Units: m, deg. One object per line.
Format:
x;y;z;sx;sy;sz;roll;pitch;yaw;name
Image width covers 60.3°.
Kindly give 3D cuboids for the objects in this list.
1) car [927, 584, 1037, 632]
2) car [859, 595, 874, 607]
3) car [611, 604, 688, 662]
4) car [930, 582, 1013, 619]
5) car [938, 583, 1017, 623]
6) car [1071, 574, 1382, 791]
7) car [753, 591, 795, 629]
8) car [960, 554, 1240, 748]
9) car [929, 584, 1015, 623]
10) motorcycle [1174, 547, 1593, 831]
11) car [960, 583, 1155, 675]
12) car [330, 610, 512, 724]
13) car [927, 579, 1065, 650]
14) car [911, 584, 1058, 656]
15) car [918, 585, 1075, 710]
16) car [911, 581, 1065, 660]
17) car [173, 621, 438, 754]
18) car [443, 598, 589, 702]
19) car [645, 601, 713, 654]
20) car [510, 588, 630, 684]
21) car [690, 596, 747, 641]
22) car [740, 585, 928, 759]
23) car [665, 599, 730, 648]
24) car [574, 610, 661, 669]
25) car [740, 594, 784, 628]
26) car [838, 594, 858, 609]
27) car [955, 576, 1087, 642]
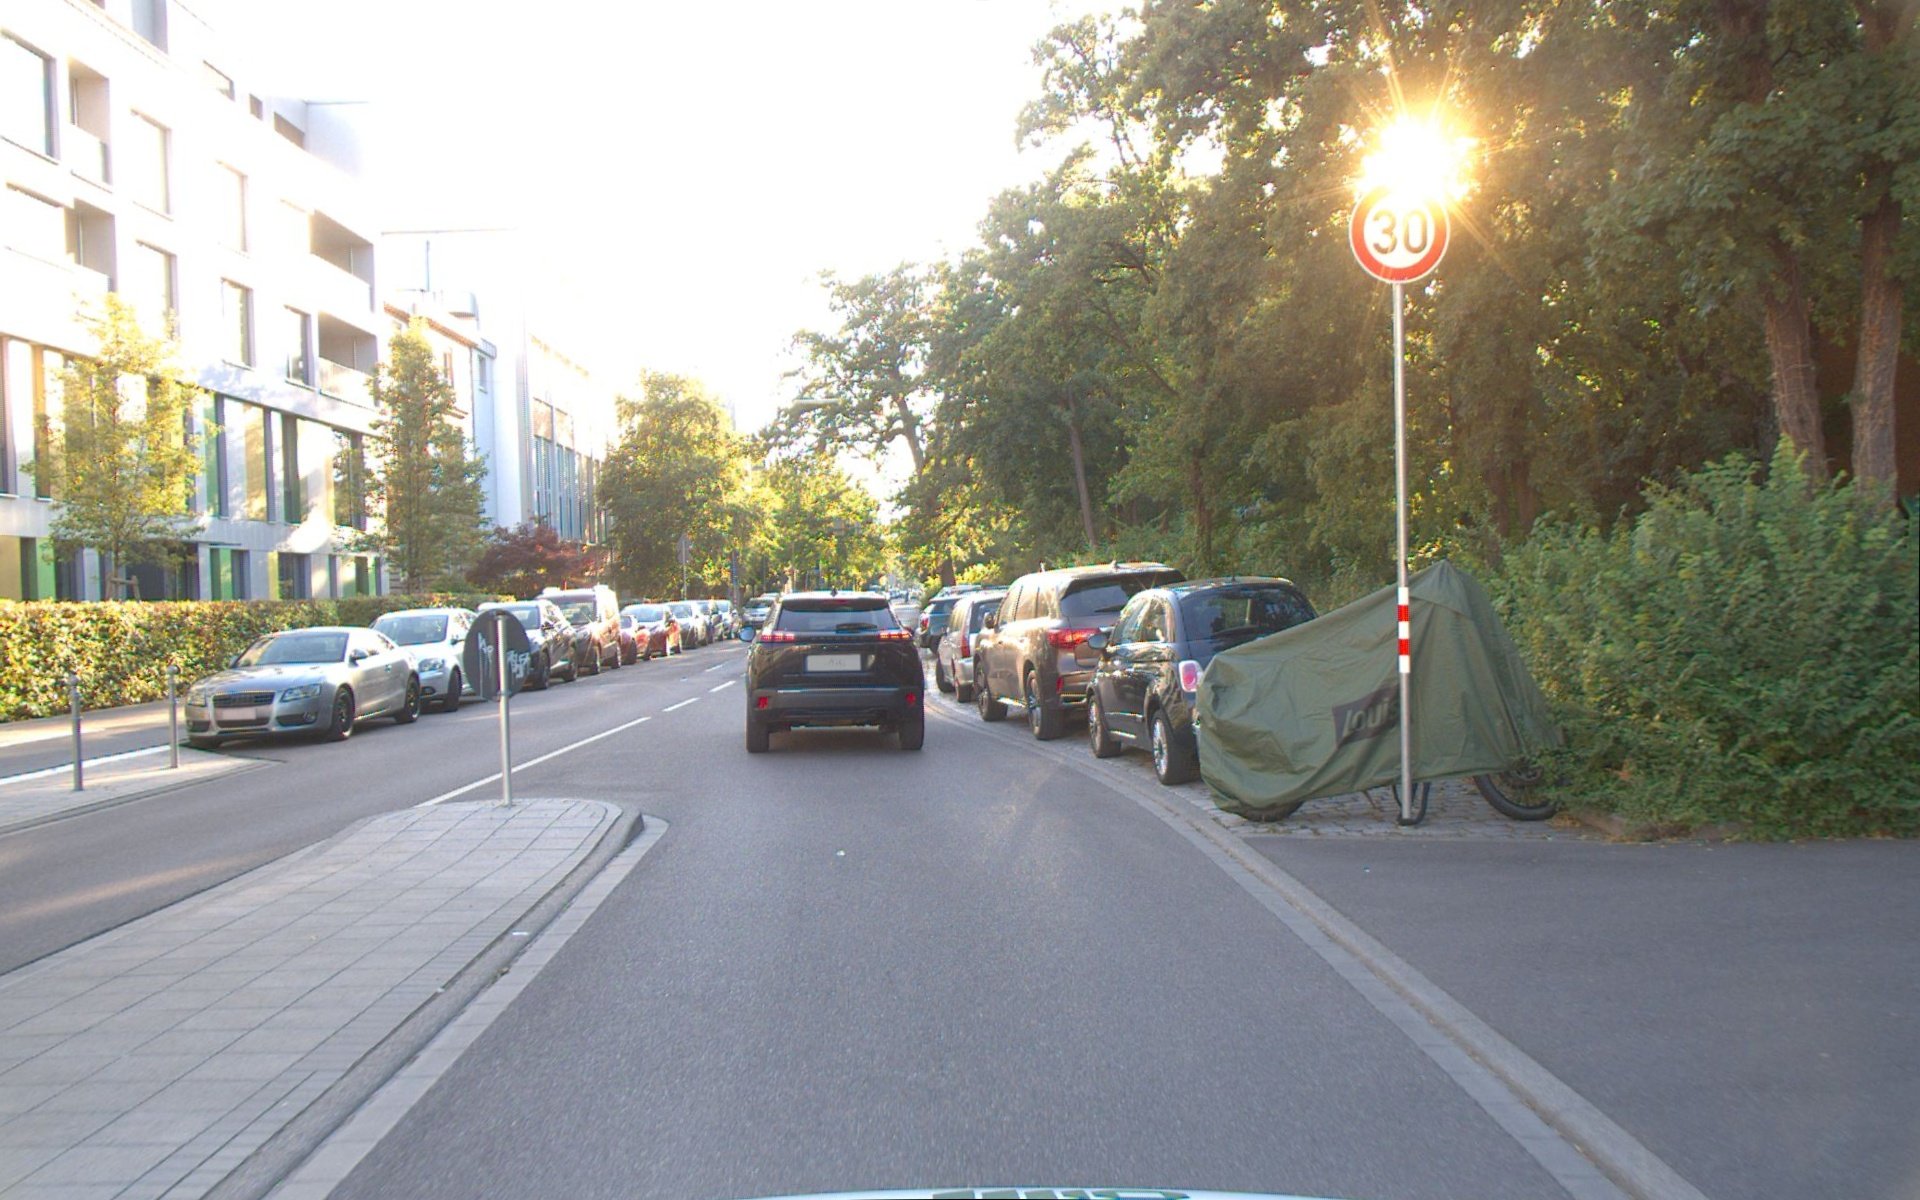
0.871;0.291;66.433;4.250;1.500;1.742;-5;1;-1;car
-12.401;0.115;219.372;1.775;1.377;3.996;-3;1;-5;car
-8.826;0.916;47.253;1.566;1.480;3.860;-3;0;-2;car
0.613;0.000;84.474;4.083;1.740;1.868;-2;0;3;car
0.790;0.164;77.260;3.517;1.593;1.817;-4;-1;-2;car
2.093;0.603;13.922;1.590;1.512;3.412;-3;0;-8;car
-9.622;0.497;85.929;1.645;1.738;4.340;-3;1;-1;car
1.375;0.485;18.347;1.887;1.779;4.655;-3;0;-10;car
0.540;0.143;79.734;4.039;1.696;1.722;-2;0;-1;car
2.598;0.523;10.240;2.251;1.572;1.037;-3;0;33;motorcycle
1.816;0.529;31.628;3.553;1.567;1.671;-2;1;-1;car
-8.548;1.007;26.599;1.707;1.560;4.113;-3;0;-3;car
0.961;0.375;45.592;3.595;1.579;1.734;-6;1;-3;car
0.593;0.490;42.902;3.595;1.469;1.734;-6;1;-3;car
0.447;0.640;24.424;1.620;1.595;4.294;-3;0;-8;car
0.655;0.484;40.523;3.540;1.551;1.670;-6;1;-3;car
-8.294;1.047;21.410;1.707;1.380;4.395;-3;0;-1;car
-8.492;0.892;32.012;1.707;1.705;4.415;-3;1;-2;car
-9.054;0.858;53.478;1.566;1.480;4.053;-3;1;-2;car
-8.758;0.747;37.490;1.771;1.922;4.236;-3;1;-2;car
-9.138;0.690;62.815;1.568;1.519;3.772;-3;1;-1;car
-1.309;0.659;17.048;1.733;1.596;3.377;0;0;-5;car
-9.231;0.798;58.372;1.566;1.534;3.787;-3;1;1;car
-8.788;0.987;42.632;1.525;1.302;3.731;-3;1;-2;car
-9.626;0.502;80.462;1.637;1.520;4.060;-3;0;-1;car
-11.464;0.149;169.232;1.776;1.377;3.995;-3;1;-6;car
1.743;0.263;48.275;3.651;1.524;1.819;-6;0;-1;car
